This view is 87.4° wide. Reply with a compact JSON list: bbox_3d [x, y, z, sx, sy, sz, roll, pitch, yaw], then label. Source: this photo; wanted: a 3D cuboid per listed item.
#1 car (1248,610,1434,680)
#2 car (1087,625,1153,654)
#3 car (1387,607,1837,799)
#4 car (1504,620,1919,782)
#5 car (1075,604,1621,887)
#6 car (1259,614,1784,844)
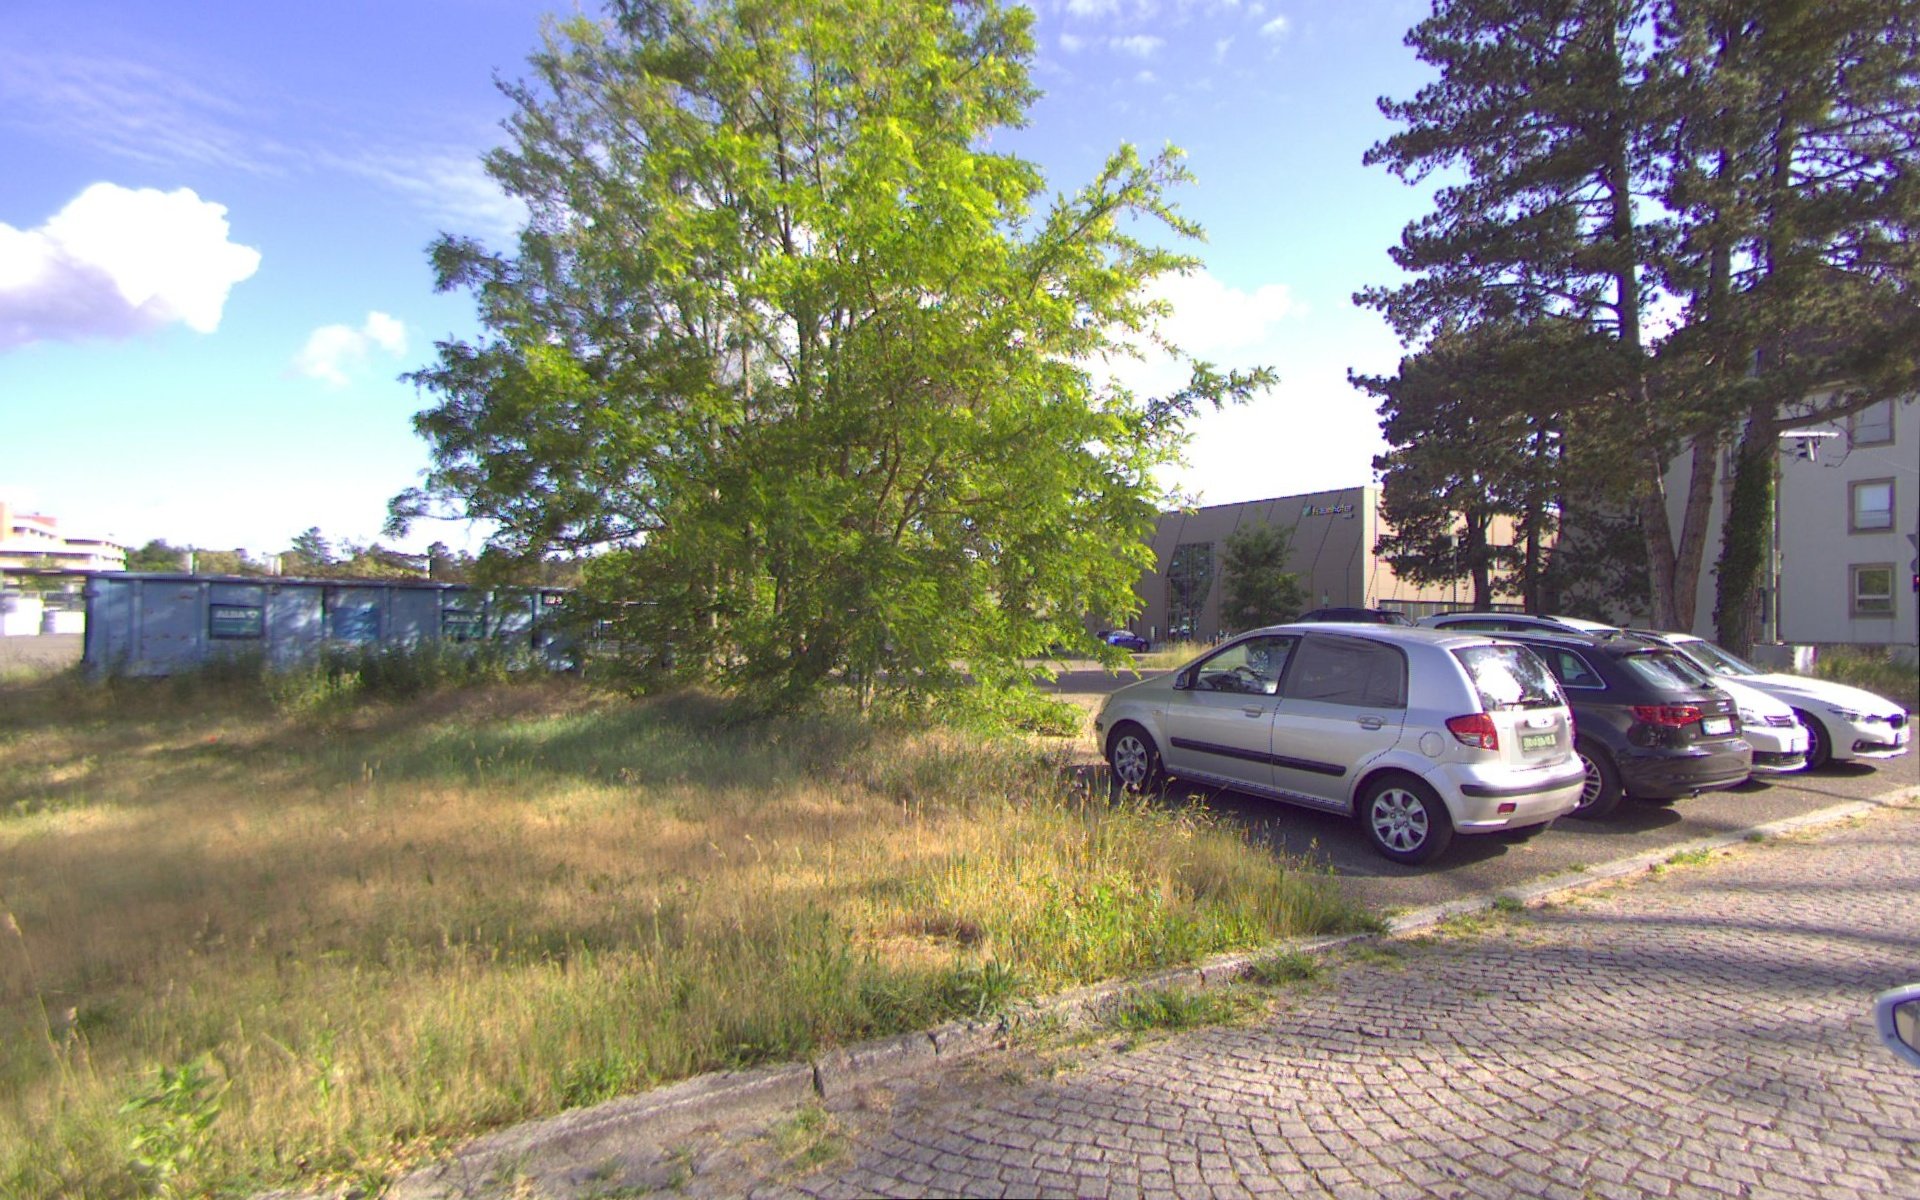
[{"bbox_3d":[9.608,1.096,25.656,1.987,1.630,4.123,1,-2,-31],"label":"car"},{"bbox_3d":[10.196,2.484,63.980,3.956,1.802,1.856,1,-2,-31],"label":"car"},{"bbox_3d":[7.005,0.961,11.198,1.643,1.637,3.856,1,1,-33],"label":"car"},{"bbox_3d":[9.221,1.089,12.527,1.750,1.516,3.971,1,1,-28],"label":"car"},{"bbox_3d":[2.754,0.871,7.862,1.682,1.548,3.661,1,1,-35],"label":"car"},{"bbox_3d":[4.922,0.970,9.358,1.673,1.464,3.913,1,2,-33],"label":"car"}]
